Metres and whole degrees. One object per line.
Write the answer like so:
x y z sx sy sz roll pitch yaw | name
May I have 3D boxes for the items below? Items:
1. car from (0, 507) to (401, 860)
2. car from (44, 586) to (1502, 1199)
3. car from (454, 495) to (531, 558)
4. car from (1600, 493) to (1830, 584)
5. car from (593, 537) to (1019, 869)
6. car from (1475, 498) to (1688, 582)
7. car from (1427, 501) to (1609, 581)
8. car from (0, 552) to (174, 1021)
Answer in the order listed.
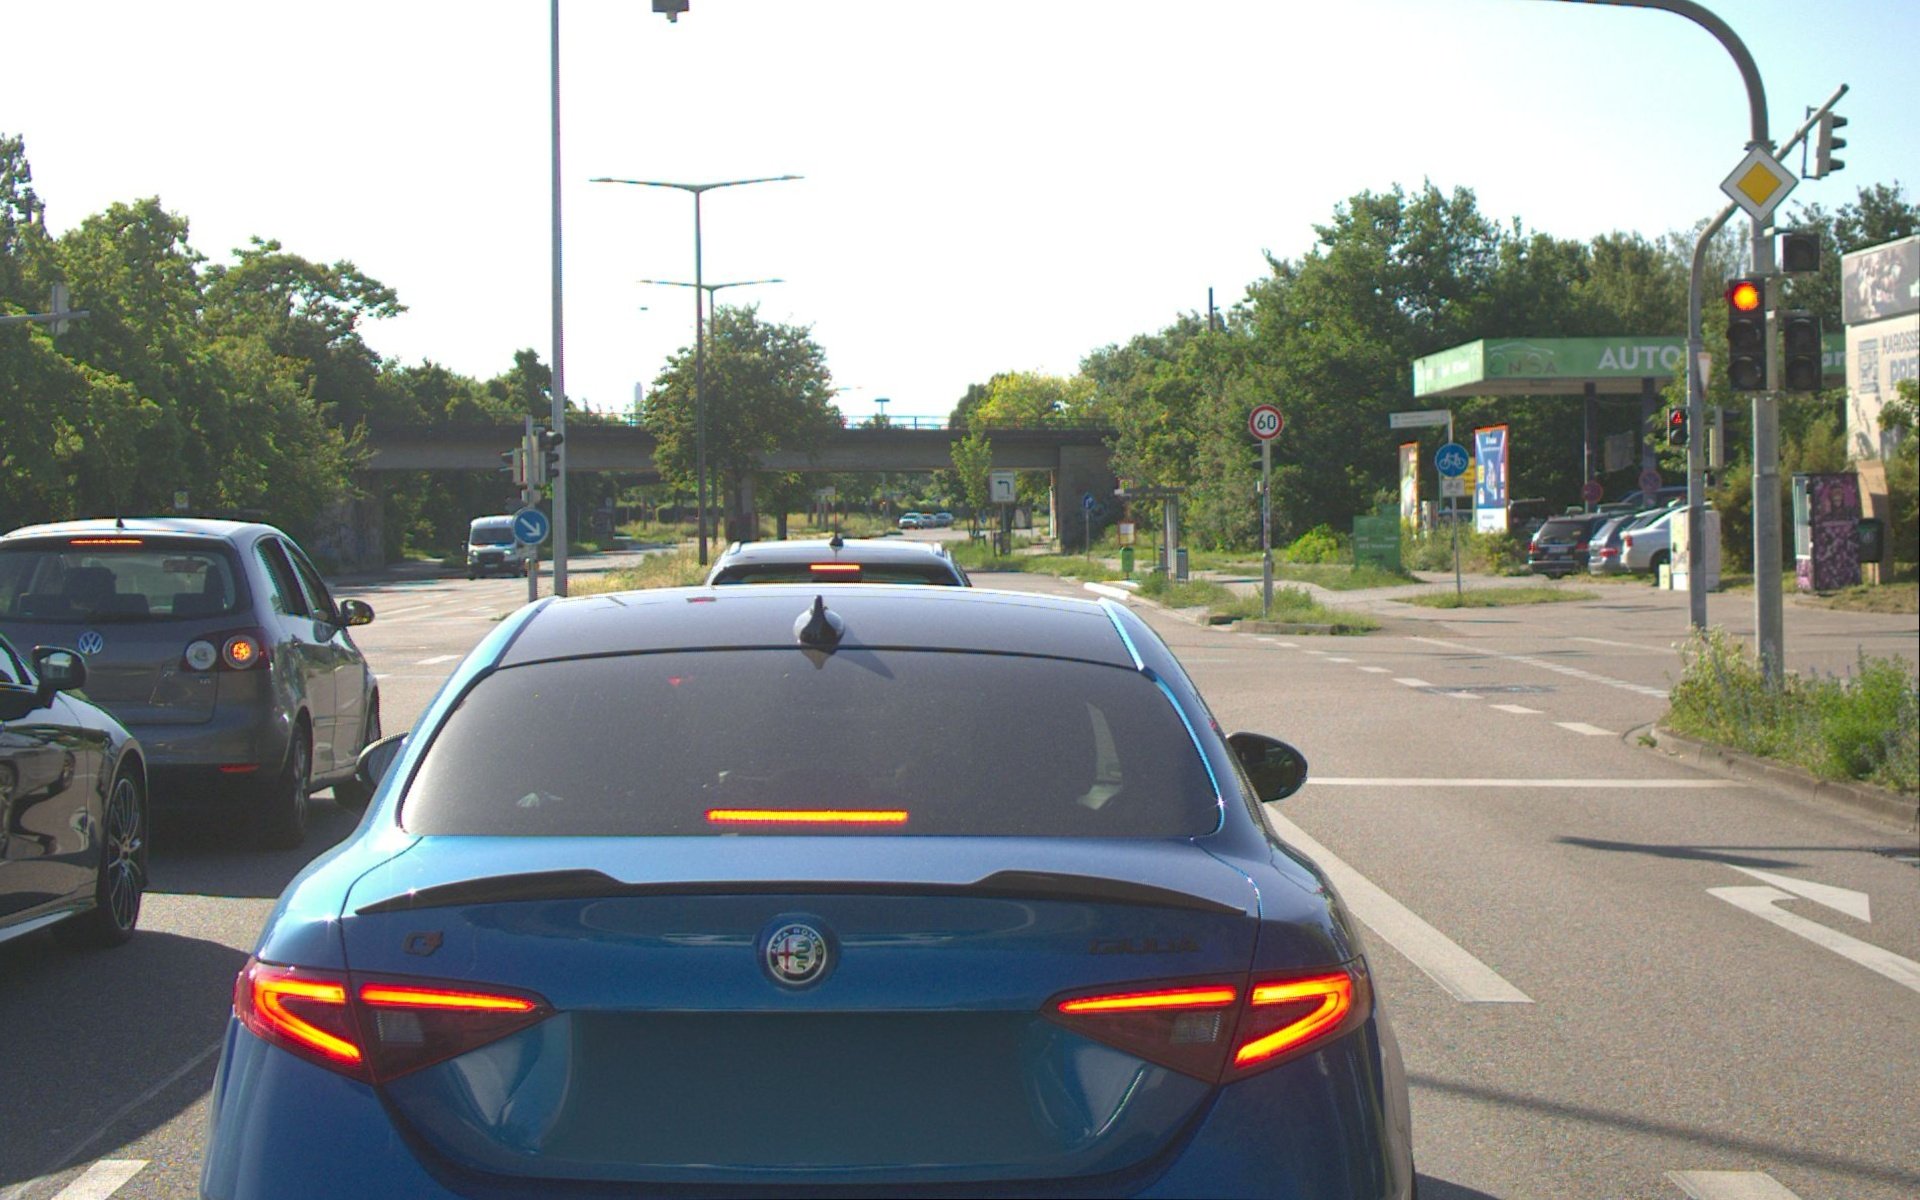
-3.976 0.337 17.517 1.648 1.593 3.932 0 1 -1 | car
-0.263 0.702 6.381 1.866 1.380 3.932 0 1 -1 | car
-18.465 -2.914 136.092 2.431 2.418 5.831 0 1 -2 | car
14.513 -1.185 66.098 3.986 1.700 1.696 -1 1 -16 | car
-0.700 0.417 17.070 1.866 1.445 3.932 0 1 -1 | car
12.823 -1.238 70.953 3.986 1.700 1.696 -1 1 -19 | car
12.022 -1.275 74.144 3.483 1.700 1.696 -1 1 -16 | car
-3.807 0.576 10.632 1.768 1.409 4.461 0 1 -1 | car
